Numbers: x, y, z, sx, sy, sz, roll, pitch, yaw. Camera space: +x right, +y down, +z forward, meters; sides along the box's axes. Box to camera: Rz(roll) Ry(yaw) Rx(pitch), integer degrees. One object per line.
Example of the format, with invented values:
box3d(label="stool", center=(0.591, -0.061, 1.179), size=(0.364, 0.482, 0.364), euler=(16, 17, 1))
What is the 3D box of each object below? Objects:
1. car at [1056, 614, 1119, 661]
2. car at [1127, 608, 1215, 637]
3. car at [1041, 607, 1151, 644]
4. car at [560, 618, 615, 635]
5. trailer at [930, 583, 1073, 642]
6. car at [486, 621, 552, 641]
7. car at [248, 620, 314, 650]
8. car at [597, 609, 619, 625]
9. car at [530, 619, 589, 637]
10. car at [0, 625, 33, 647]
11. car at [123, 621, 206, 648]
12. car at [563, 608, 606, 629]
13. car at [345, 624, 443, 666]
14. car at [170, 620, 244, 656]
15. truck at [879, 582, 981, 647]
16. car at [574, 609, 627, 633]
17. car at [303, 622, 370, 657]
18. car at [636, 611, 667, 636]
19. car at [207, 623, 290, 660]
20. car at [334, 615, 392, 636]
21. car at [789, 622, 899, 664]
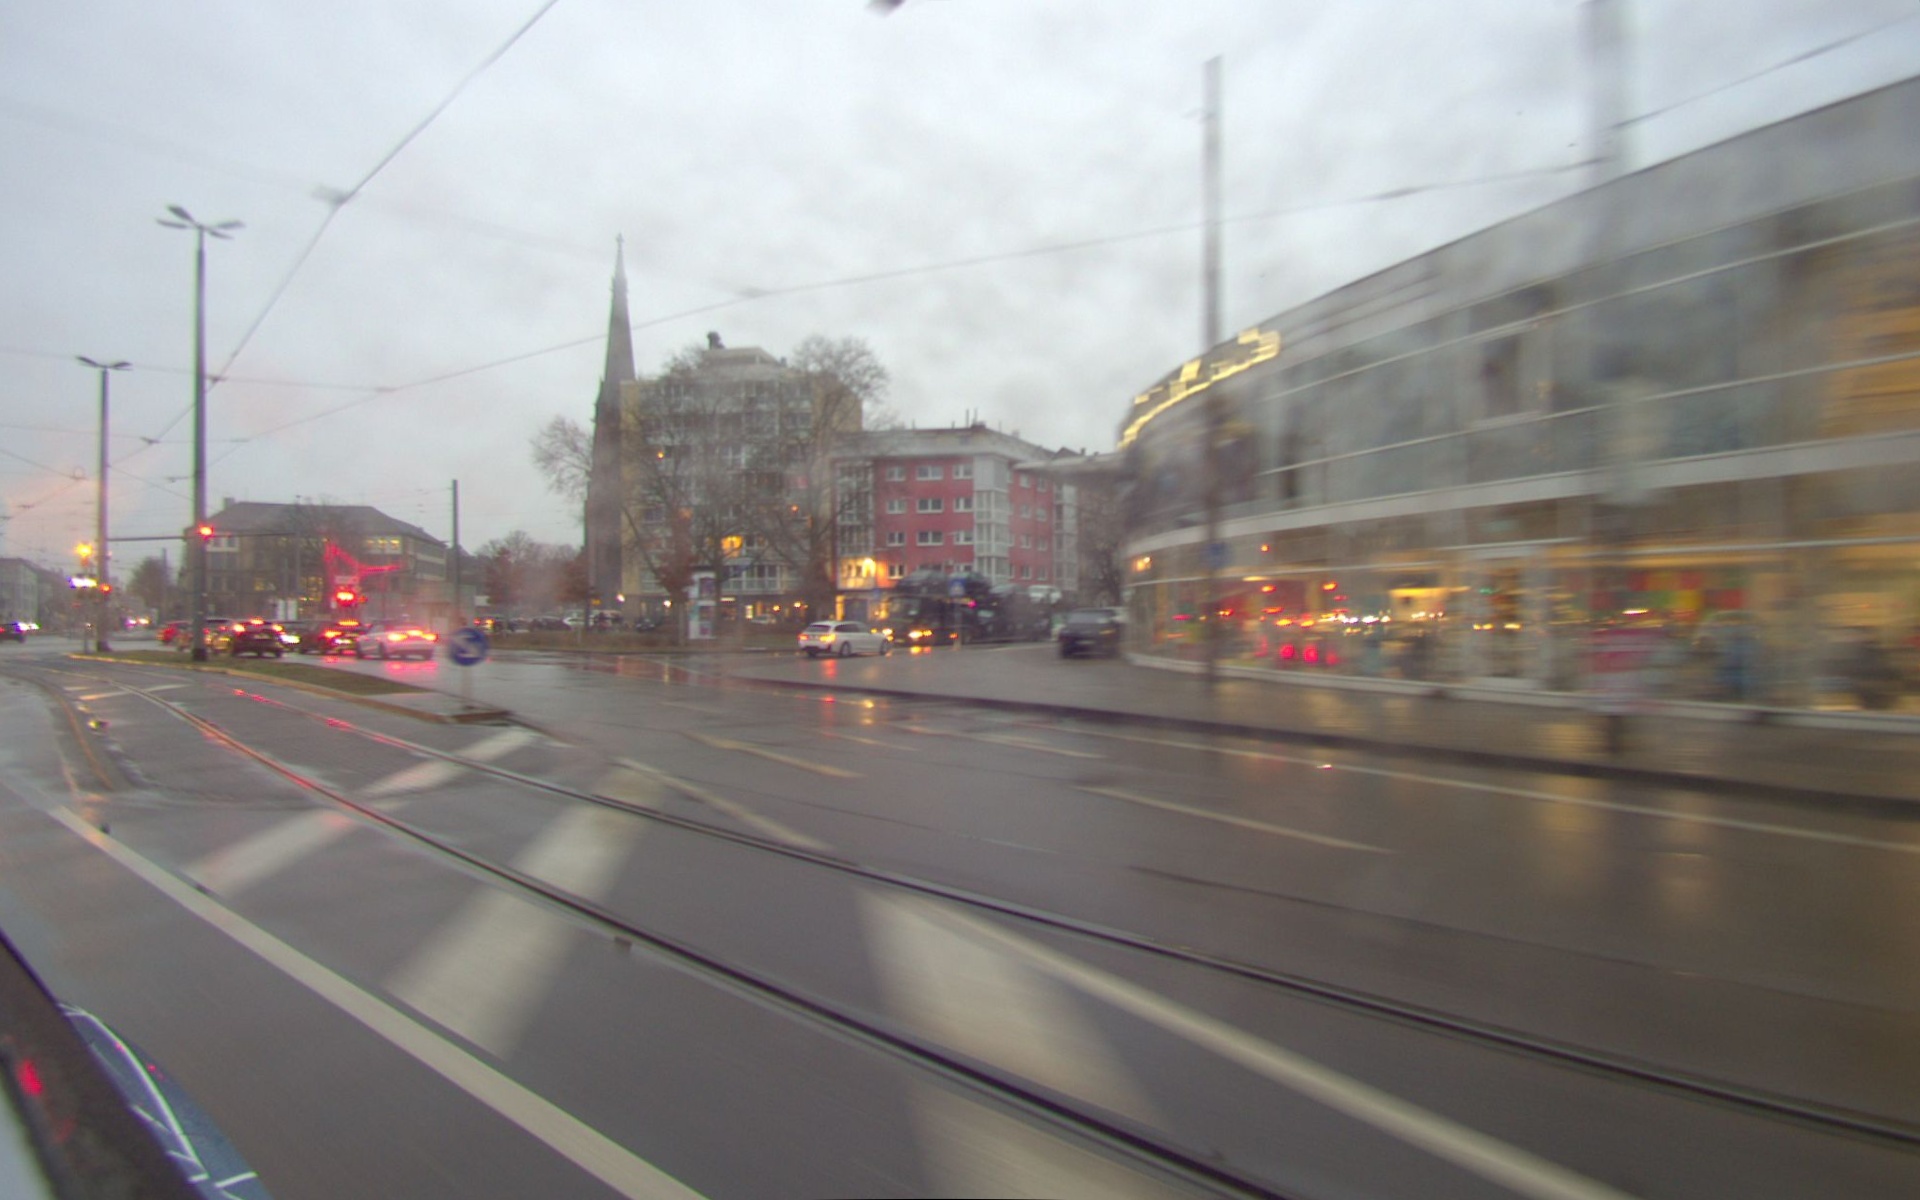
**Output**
box3d(label="car", center=(4.428, 1.243, 34.605), size=(1.726, 1.409, 4.276), euler=(-1, 0, 13))
box3d(label="car", center=(11.589, 1.230, 55.597), size=(4.405, 1.534, 1.865), euler=(-1, 0, 31))
box3d(label="car", center=(5.932, 1.112, 44.392), size=(4.405, 1.534, 1.865), euler=(-1, 0, 31))
box3d(label="car", center=(-31.734, 2.227, 86.272), size=(3.948, 1.320, 1.998), euler=(-1, 0, 4))
box3d(label="trailer", center=(3.095, 0.683, 65.453), size=(2.626, 3.443, 14.903), euler=(-1, 0, 30))
box3d(label="car", center=(-32.124, 2.246, 73.714), size=(3.948, 1.320, 1.998), euler=(-1, 0, 4))
box3d(label="car", center=(-32.376, 1.651, 48.244), size=(3.999, 1.368, 1.706), euler=(-1, -1, 42))
box3d(label="car", center=(-41.562, 2.033, 119.514), size=(1.795, 1.807, 4.577), euler=(-1, -1, -11))
box3d(label="car", center=(-32.179, 2.238, 81.332), size=(3.948, 1.320, 1.998), euler=(-1, 0, 4))
box3d(label="car", center=(-71.954, 2.667, 76.219), size=(3.982, 1.564, 1.981), euler=(-1, 0, 29))
box3d(label="car", center=(-51.588, 2.217, 65.640), size=(2.001, 1.541, 4.036), euler=(-1, 0, 45))
box3d(label="car", center=(-37.859, 1.860, 101.935), size=(3.930, 2.029, 2.007), euler=(-1, 0, -24))
box3d(label="car", center=(-21.640, 1.674, 38.620), size=(4.587, 1.432, 1.972), euler=(-1, -1, 43))
box3d(label="car", center=(-33.132, 1.646, 44.490), size=(3.999, 1.497, 1.880), euler=(-1, -1, 42))
box3d(label="truck", center=(-1.600, 0.755, 57.333), size=(2.648, 3.443, 6.687), euler=(-1, 0, 30))
box3d(label="car", center=(-31.653, 1.869, 89.271), size=(3.948, 2.029, 1.998), euler=(-1, 0, 4))
box3d(label="car", center=(-26.694, 1.657, 43.265), size=(3.471, 1.429, 1.583), euler=(-1, -1, 43))
box3d(label="car", center=(-26.590, 2.027, 87.244), size=(1.968, 2.029, 4.008), euler=(-1, 0, -9))
box3d(label="car", center=(-28.078, 1.606, 39.904), size=(4.000, 1.401, 1.851), euler=(-1, -3, 43))
box3d(label="car", center=(-47.890, 2.026, 81.191), size=(3.971, 1.575, 1.986), euler=(-1, 0, 21))
box3d(label="car", center=(-4.659, 1.701, 41.428), size=(1.993, 1.509, 4.758), euler=(-1, -1, 31))
